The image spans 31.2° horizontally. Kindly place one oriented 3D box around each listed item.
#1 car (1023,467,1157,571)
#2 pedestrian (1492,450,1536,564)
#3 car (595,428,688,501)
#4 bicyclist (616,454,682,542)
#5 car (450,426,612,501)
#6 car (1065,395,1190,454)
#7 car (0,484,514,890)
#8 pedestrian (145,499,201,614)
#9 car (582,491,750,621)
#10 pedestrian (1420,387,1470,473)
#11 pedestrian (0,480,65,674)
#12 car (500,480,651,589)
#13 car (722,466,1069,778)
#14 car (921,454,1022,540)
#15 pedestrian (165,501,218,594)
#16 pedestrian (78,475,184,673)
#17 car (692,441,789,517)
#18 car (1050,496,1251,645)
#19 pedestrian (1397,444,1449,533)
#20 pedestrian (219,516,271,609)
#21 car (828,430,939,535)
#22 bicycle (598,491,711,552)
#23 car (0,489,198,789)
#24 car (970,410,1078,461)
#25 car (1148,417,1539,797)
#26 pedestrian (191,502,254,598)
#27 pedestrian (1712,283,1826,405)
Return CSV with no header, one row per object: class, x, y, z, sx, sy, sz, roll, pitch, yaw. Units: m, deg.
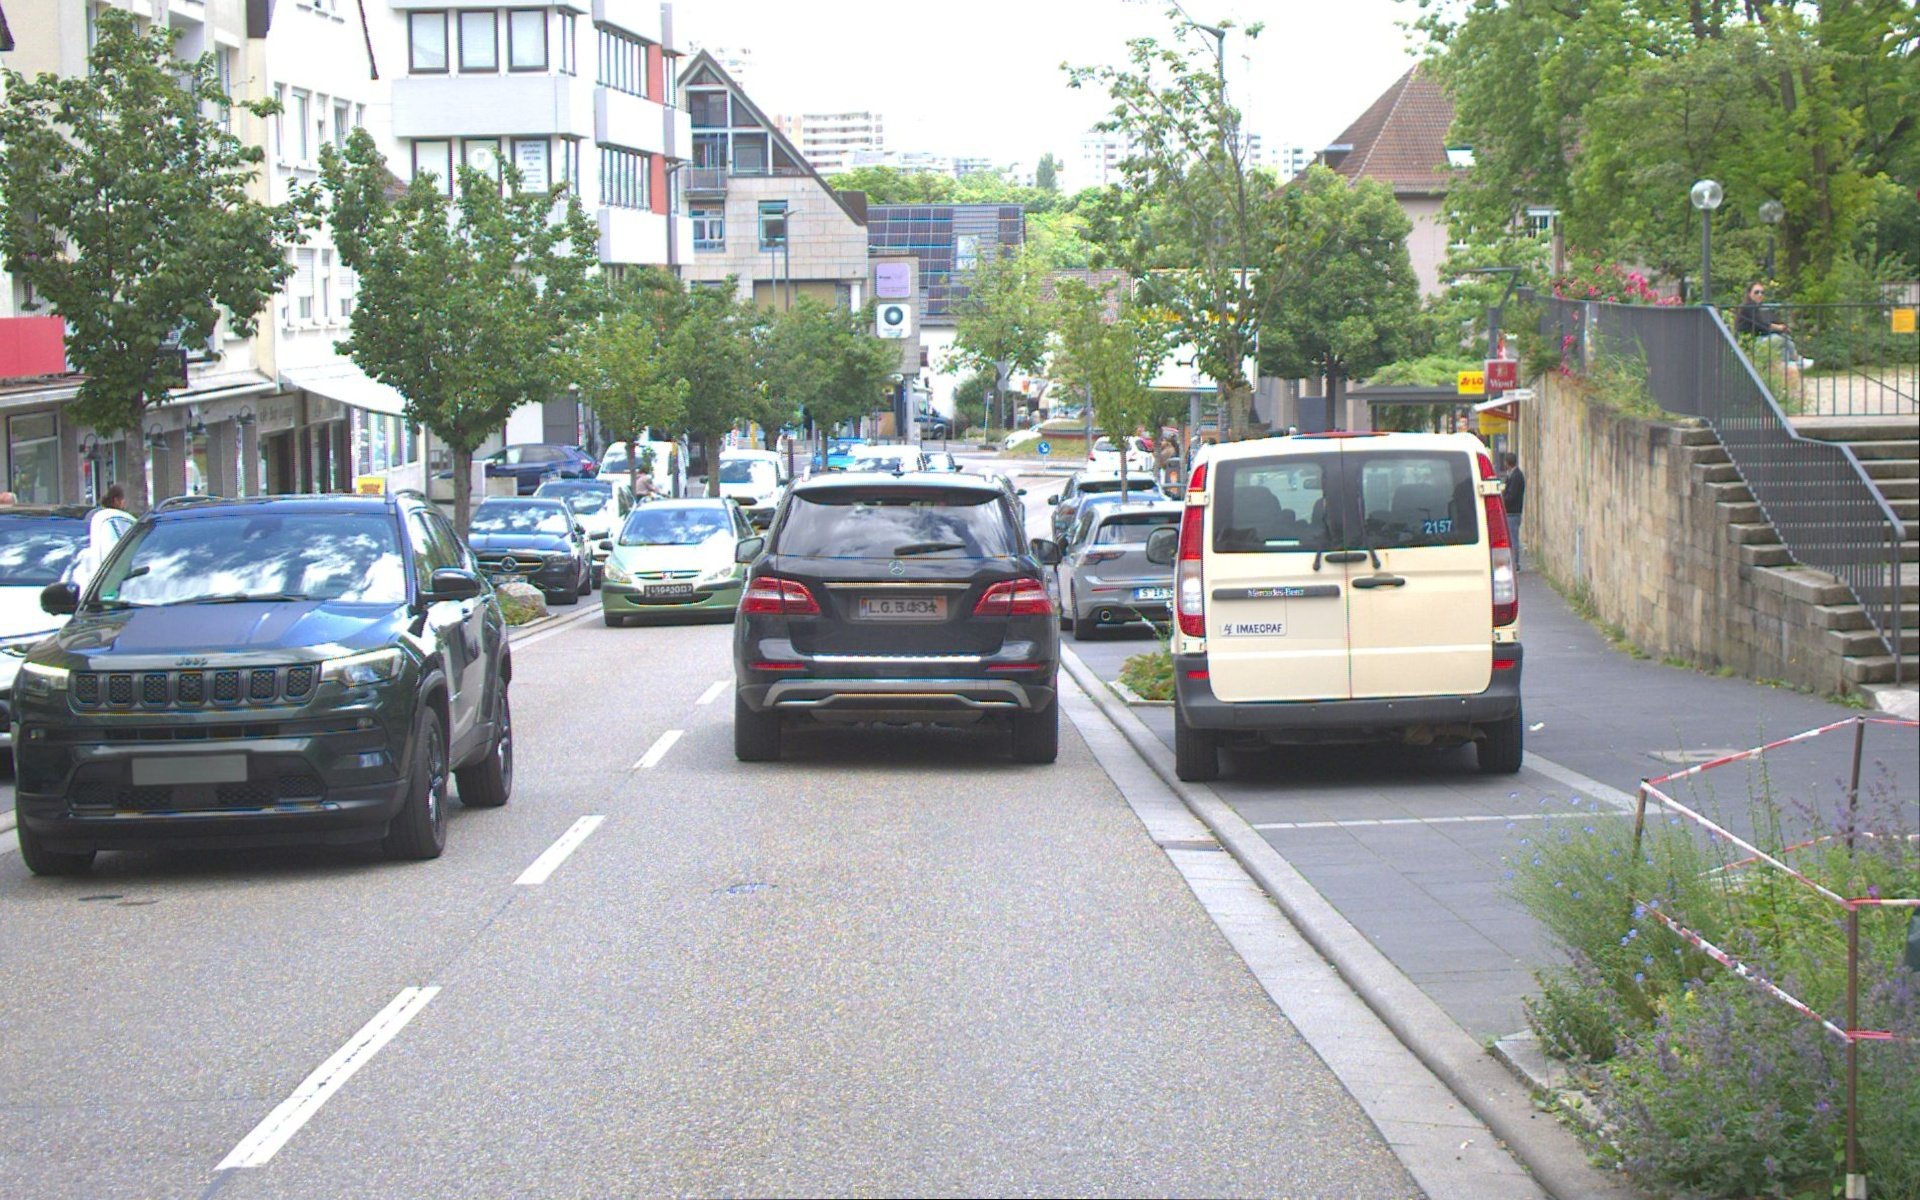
car,2.025,-1.331,54.786,1.938,1.539,4.707,-1,2,0
pedestrian,7.783,-1.305,48.323,0.568,1.581,0.666,-1,1,8
car,-7.532,-3.226,81.560,1.926,1.623,4.415,2,2,-2
bicyclist,-5.889,-1.931,65.127,0.962,1.604,0.730,-4,2,-27
car,-11.082,-3.531,89.058,3.986,1.744,2.000,-3,2,-4
car,6.065,-6.341,124.468,4.192,2.023,1.784,0,2,34
car,-3.198,0.300,16.003,1.764,1.611,4.033,-1,2,-1
pedestrian,-10.595,-0.590,46.309,0.573,1.529,0.676,-1,1,-1
car,-3.629,-0.585,42.976,1.812,1.503,4.001,-1,2,-1
pedestrian,12.552,-4.398,88.996,1.012,2.143,1.067,-2,2,18
pedestrian,-8.140,-0.206,29.697,0.641,1.662,0.720,0,2,-1
car,-6.031,-1.065,54.349,1.926,1.623,4.263,0,2,0
car,-0.375,0.047,21.526,1.943,1.734,4.179,1,2,0
car,0.206,-2.089,68.777,1.926,1.623,4.263,2,2,0
pedestrian,-10.644,-0.728,47.631,0.565,1.277,0.759,0,1,-1
pedestrian,-7.027,-0.227,29.159,0.727,1.662,0.720,0,2,-1
car,-4.984,-2.785,78.606,1.926,1.623,4.263,2,2,0
car,2.036,-0.375,38.016,1.938,1.452,4.707,-1,2,0
pedestrian,10.218,-2.471,75.927,1.050,1.906,0.937,-3,2,7
pedestrian,-9.901,-0.524,47.630,0.565,1.277,0.759,0,1,-1
car,-1.733,-2.694,79.251,2.174,2.356,4.622,0,2,4
bicycle,-5.795,-1.488,65.189,1.956,1.054,0.712,-4,2,-27
car,-6.070,0.139,21.357,1.926,1.590,4.459,1,2,-4
car,2.688,-6.882,144.104,4.070,2.006,2.001,1,2,-15
car,2.130,-0.065,20.139,1.938,1.885,4.707,-2,2,4
pedestrian,-9.922,-0.680,46.290,0.686,1.277,0.676,-1,1,-1
pedestrian,8.542,-2.699,36.332,0.990,1.227,0.984,0,1,1
